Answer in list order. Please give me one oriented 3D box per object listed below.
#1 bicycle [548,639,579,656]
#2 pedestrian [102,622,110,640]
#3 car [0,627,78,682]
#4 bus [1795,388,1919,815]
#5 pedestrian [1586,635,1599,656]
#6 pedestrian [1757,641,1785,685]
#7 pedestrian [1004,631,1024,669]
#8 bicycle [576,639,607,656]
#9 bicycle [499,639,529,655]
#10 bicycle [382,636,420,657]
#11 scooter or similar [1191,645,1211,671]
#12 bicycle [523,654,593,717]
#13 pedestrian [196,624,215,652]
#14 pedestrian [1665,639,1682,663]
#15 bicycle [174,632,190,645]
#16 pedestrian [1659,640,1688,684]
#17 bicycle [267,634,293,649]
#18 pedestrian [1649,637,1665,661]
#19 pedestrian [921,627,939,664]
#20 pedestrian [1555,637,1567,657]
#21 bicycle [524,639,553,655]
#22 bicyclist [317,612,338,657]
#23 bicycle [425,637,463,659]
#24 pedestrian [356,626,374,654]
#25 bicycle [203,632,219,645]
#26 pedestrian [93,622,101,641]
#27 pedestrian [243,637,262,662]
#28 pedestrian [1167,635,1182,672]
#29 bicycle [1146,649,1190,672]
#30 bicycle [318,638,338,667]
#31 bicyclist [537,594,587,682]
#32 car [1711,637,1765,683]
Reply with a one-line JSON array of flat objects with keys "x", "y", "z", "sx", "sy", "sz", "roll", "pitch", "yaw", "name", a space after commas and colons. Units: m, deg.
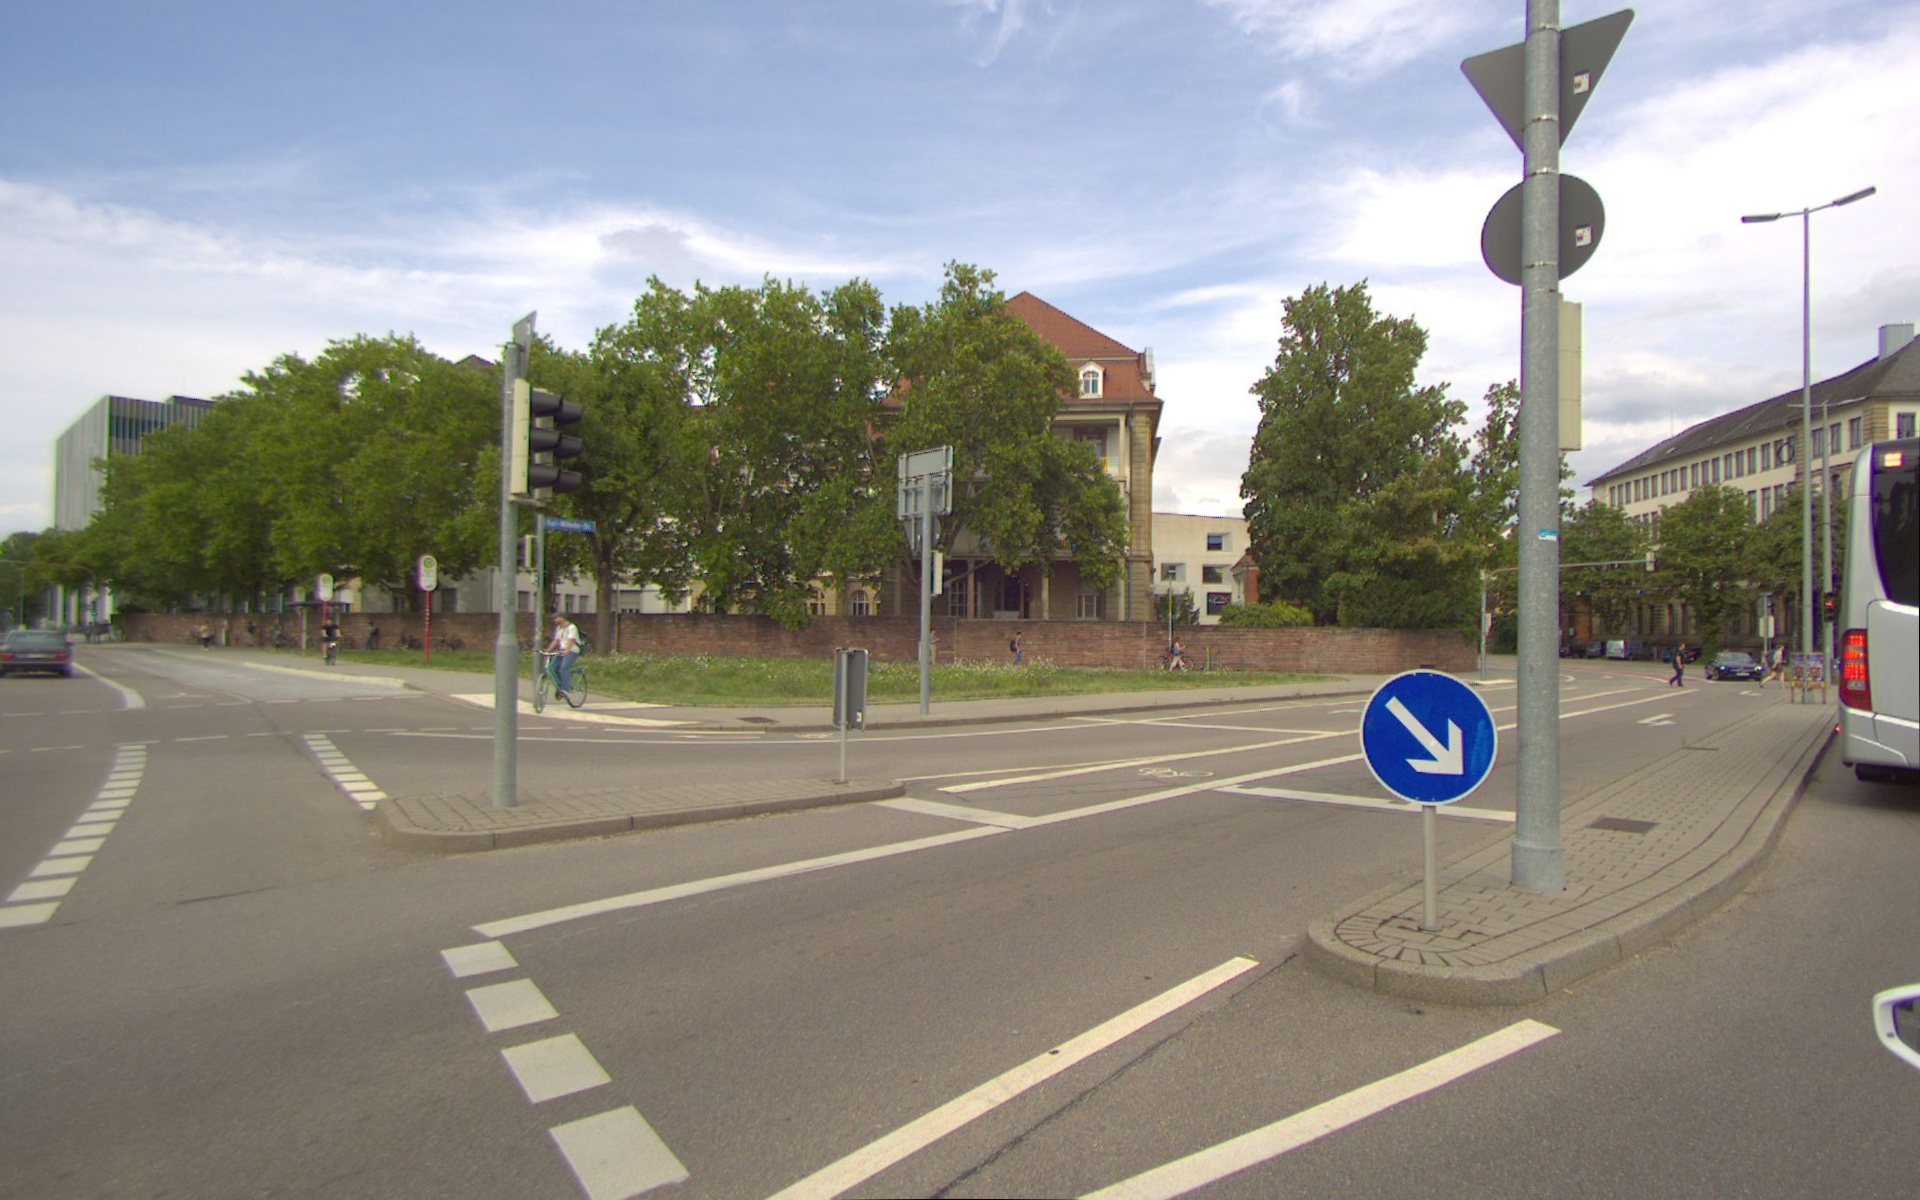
[{"x": -21.210, "y": 2.536, "z": 53.680, "sx": 1.856, "sy": 0.875, "sz": 0.358, "roll": -1, "pitch": -4, "yaw": 27, "name": "bicycle"}, {"x": -69.078, "y": 2.498, "z": 81.276, "sx": 0.466, "sy": 1.476, "sz": 0.400, "roll": 0, "pitch": 0, "yaw": 40, "name": "pedestrian"}, {"x": -28.654, "y": 1.621, "z": 30.955, "sx": 4.352, "sy": 1.500, "sz": 1.692, "roll": -1, "pitch": 0, "yaw": 42, "name": "car"}, {"x": 12.954, "y": 0.328, "z": 13.044, "sx": 2.675, "sy": 3.483, "sz": 14.108, "roll": 0, "pitch": -3, "yaw": 42, "name": "bus"}, {"x": 63.817, "y": 4.573, "z": 101.288, "sx": 0.872, "sy": 2.040, "sz": 1.009, "roll": 0, "pitch": -1, "yaw": 17, "name": "pedestrian"}, {"x": 33.063, "y": 2.553, "z": 40.961, "sx": 0.833, "sy": 1.734, "sz": 0.790, "roll": -1, "pitch": 0, "yaw": -43, "name": "pedestrian"}, {"x": 2.511, "y": 2.308, "z": 46.513, "sx": 0.769, "sy": 1.677, "sz": 0.575, "roll": -1, "pitch": 0, "yaw": -14, "name": "pedestrian"}, {"x": -19.642, "y": 2.520, "z": 53.477, "sx": 1.675, "sy": 0.875, "sz": 0.359, "roll": 0, "pitch": -4, "yaw": 20, "name": "bicycle"}, {"x": -24.523, "y": 2.569, "z": 55.226, "sx": 1.787, "sy": 0.875, "sz": 0.359, "roll": 0, "pitch": -4, "yaw": 23, "name": "bicycle"}, {"x": -32.600, "y": 2.726, "z": 58.575, "sx": 2.059, "sy": 1.204, "sz": 0.758, "roll": -1, "pitch": -4, "yaw": 24, "name": "bicycle"}, {"x": 11.434, "y": 2.744, "z": 47.632, "sx": 0.510, "sy": 1.154, "sz": 1.517, "roll": 0, "pitch": 0, "yaw": 29, "name": "scooter or similar"}, {"x": -7.262, "y": 1.519, "z": 18.232, "sx": 0.496, "sy": 0.948, "sz": 1.971, "roll": 1, "pitch": 0, "yaw": -1, "name": "bicycle"}, {"x": -44.968, "y": 2.263, "z": 59.839, "sx": 0.655, "sy": 1.643, "sz": 0.751, "roll": 0, "pitch": 0, "yaw": 40, "name": "pedestrian"}, {"x": 60.837, "y": 4.348, "z": 85.618, "sx": 0.872, "sy": 2.040, "sz": 1.009, "roll": 0, "pitch": -1, "yaw": 17, "name": "pedestrian"}, {"x": -56.656, "y": 2.813, "z": 73.140, "sx": 1.550, "sy": 0.899, "sz": 0.432, "roll": -1, "pitch": 1, "yaw": 35, "name": "bicycle"}, {"x": 28.904, "y": 2.491, "z": 40.695, "sx": 0.833, "sy": 1.734, "sz": 0.790, "roll": -1, "pitch": 0, "yaw": -43, "name": "pedestrian"}, {"x": -43.591, "y": 2.660, "z": 64.401, "sx": 1.547, "sy": 0.899, "sz": 0.661, "roll": -1, "pitch": 1, "yaw": 26, "name": "bicycle"}, {"x": 61.604, "y": 4.342, "z": 88.760, "sx": 0.872, "sy": 2.040, "sz": 1.009, "roll": 0, "pitch": -1, "yaw": 17, "name": "pedestrian"}, {"x": -1.419, "y": 2.140, "z": 47.194, "sx": 0.768, "sy": 1.677, "sz": 0.576, "roll": -1, "pitch": 0, "yaw": -9, "name": "pedestrian"}, {"x": 64.273, "y": 5.018, "z": 107.389, "sx": 0.872, "sy": 2.040, "sz": 1.009, "roll": 0, "pitch": -1, "yaw": 17, "name": "pedestrian"}, {"x": -22.866, "y": 2.553, "z": 54.498, "sx": 1.776, "sy": 0.875, "sz": 0.358, "roll": -1, "pitch": -4, "yaw": 25, "name": "bicycle"}, {"x": -22.705, "y": 1.239, "z": 36.084, "sx": 0.573, "sy": 1.576, "sz": 0.791, "roll": 1, "pitch": 1, "yaw": -30, "name": "bicyclist"}, {"x": -29.229, "y": 2.720, "z": 56.913, "sx": 2.059, "sy": 1.204, "sz": 0.758, "roll": -1, "pitch": -4, "yaw": 24, "name": "bicycle"}, {"x": -35.410, "y": 2.395, "z": 59.745, "sx": 0.740, "sy": 1.643, "sz": 0.568, "roll": 0, "pitch": 0, "yaw": 24, "name": "pedestrian"}, {"x": -52.063, "y": 2.672, "z": 69.809, "sx": 1.550, "sy": 0.899, "sz": 0.432, "roll": -1, "pitch": 1, "yaw": 35, "name": "bicycle"}, {"x": -69.213, "y": 2.521, "z": 80.574, "sx": 0.466, "sy": 1.476, "sz": 0.400, "roll": 0, "pitch": 0, "yaw": 40, "name": "pedestrian"}, {"x": -47.001, "y": 3.300, "z": 66.726, "sx": 0.652, "sy": 1.643, "sz": 0.755, "roll": -1, "pitch": 0, "yaw": 5, "name": "pedestrian"}, {"x": 9.949, "y": 2.466, "z": 46.625, "sx": 0.617, "sy": 1.677, "sz": 0.532, "roll": 0, "pitch": 0, "yaw": 6, "name": "pedestrian"}, {"x": 9.820, "y": 2.849, "z": 47.450, "sx": 1.888, "sy": 1.018, "sz": 0.779, "roll": -1, "pitch": 0, "yaw": 1, "name": "bicycle"}, {"x": -22.734, "y": 1.877, "z": 36.147, "sx": 0.500, "sy": 0.948, "sz": 1.955, "roll": 1, "pitch": 0, "yaw": -30, "name": "bicycle"}, {"x": -7.266, "y": 0.678, "z": 18.354, "sx": 0.568, "sy": 1.576, "sz": 0.798, "roll": 1, "pitch": 0, "yaw": -1, "name": "bicyclist"}, {"x": 39.199, "y": 2.966, "z": 50.691, "sx": 1.967, "sy": 2.040, "sz": 3.986, "roll": 0, "pitch": 0, "yaw": 36, "name": "car"}]
